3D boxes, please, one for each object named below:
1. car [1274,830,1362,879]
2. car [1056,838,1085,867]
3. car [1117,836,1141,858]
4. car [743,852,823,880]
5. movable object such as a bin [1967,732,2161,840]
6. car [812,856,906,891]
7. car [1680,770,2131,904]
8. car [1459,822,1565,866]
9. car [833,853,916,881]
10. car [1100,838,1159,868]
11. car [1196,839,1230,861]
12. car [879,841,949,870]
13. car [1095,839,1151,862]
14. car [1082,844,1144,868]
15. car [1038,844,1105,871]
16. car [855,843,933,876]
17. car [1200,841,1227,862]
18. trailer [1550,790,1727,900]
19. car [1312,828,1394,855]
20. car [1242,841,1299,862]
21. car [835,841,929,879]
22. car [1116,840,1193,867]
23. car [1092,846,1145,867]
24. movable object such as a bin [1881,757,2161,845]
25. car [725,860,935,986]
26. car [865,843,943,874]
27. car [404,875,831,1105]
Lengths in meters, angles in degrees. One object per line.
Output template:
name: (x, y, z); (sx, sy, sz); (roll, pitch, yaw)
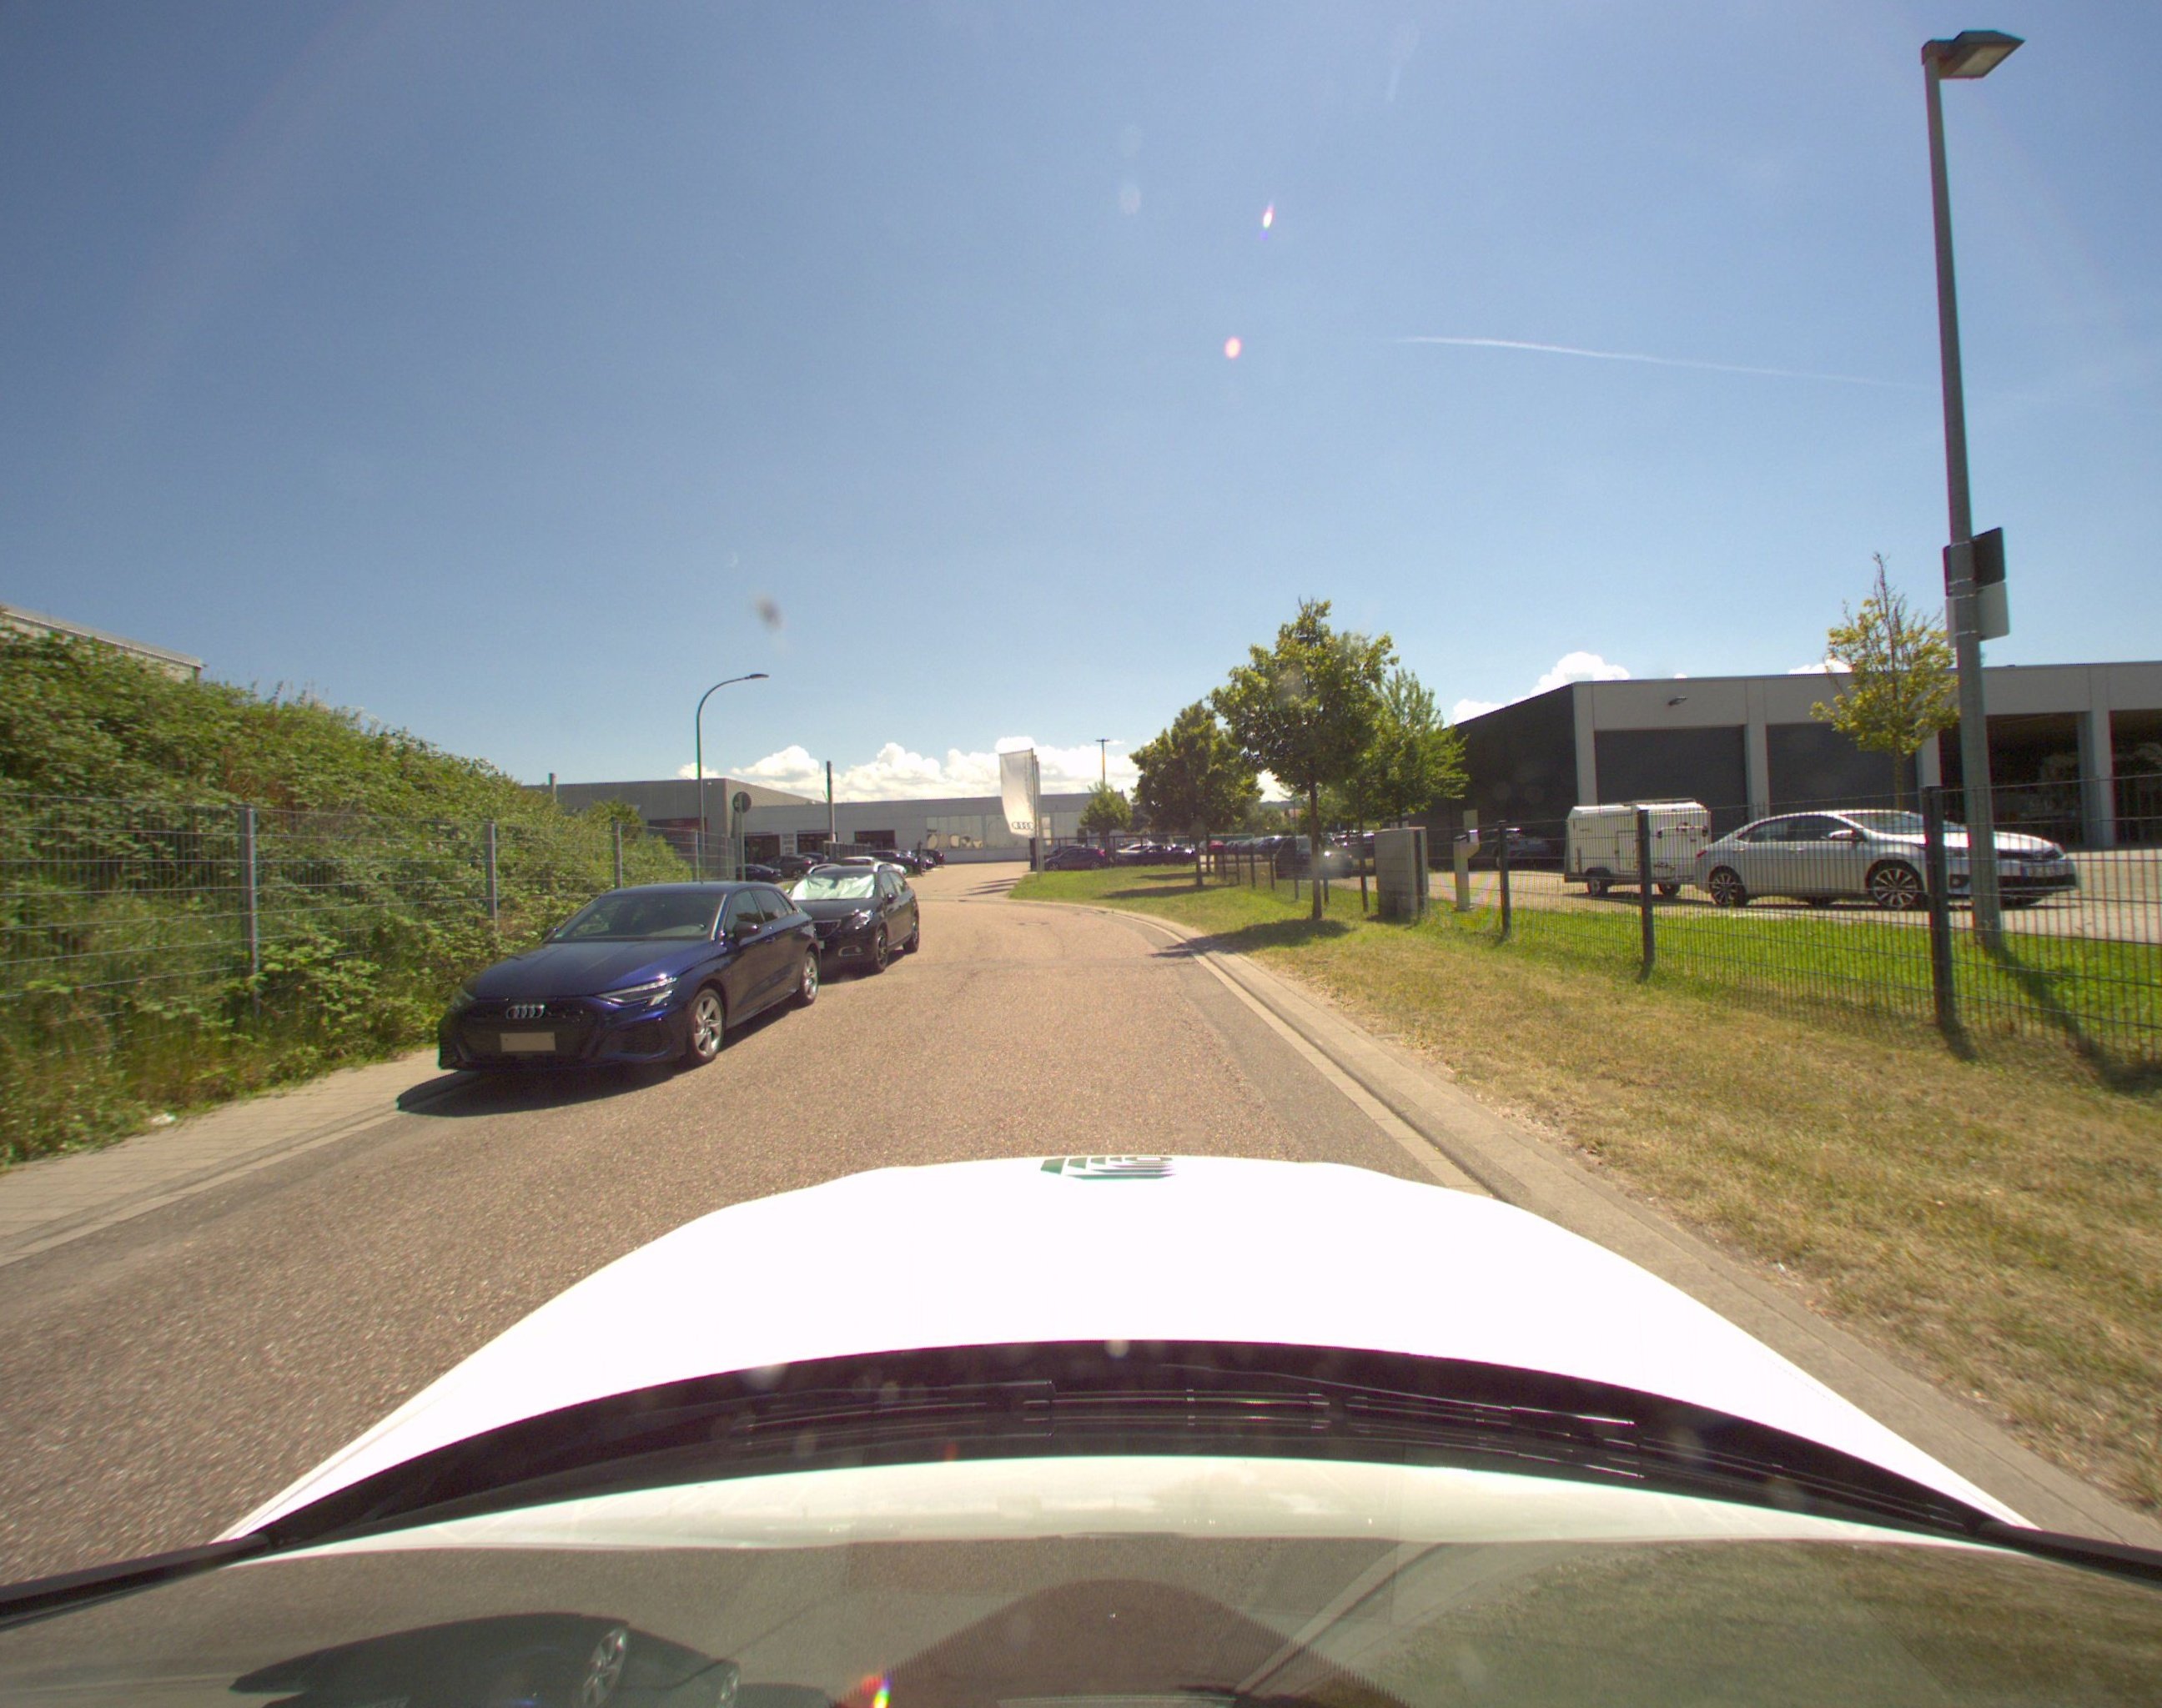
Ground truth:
car: (8.208, 0.012, 28.551); (1.732, 1.522, 3.892); (-3, 0, -3)
car: (-0.784, -0.076, 59.736); (1.988, 1.827, 3.996); (-3, -2, -2)
car: (4.602, -0.660, 78.515); (1.987, 1.827, 3.999); (-3, -2, 0)
car: (-19.401, 0.806, 53.215); (4.426, 1.626, 1.998); (-3, -2, -2)
movable object such as a bin: (43.095, -2.739, 33.561); (3.530, 3.974, 8.662); (-3, 0, -1)
car: (-11.865, 1.056, 43.772); (4.426, 1.626, 1.998); (-3, -2, -2)
car: (11.484, -0.091, 11.946); (1.876, 1.523, 4.463); (-3, -3, -3)
car: (15.279, -0.349, 29.090); (1.731, 1.407, 3.694); (-3, 0, -2)
car: (-12.312, 0.799, 48.783); (4.426, 1.398, 1.998); (-3, -2, -2)
car: (3.408, -0.063, 57.803); (3.976, 1.827, 1.998); (-3, -2, -2)
car: (9.883, -0.279, 61.229); (1.986, 1.398, 4.000); (-3, -2, 1)
car: (-12.773, 0.102, 62.566); (4.869, 1.922, 1.999); (-3, 0, -1)
car: (3.088, -0.248, 60.518); (3.976, 1.398, 1.998); (-3, -2, -2)
car: (2.116, 0.152, 54.591); (3.976, 1.398, 1.998); (-3, -2, -2)
car: (-0.571, 0.236, 49.683); (3.976, 1.398, 1.998); (-3, -2, -2)
car: (-12.277, 0.359, 53.773); (4.573, 1.922, 1.999); (-3, 0, -1)
car: (13.287, -0.190, 81.814); (1.987, 1.827, 3.999); (-3, -2, 0)
trailer: (11.472, -0.227, 17.004); (1.487, 2.006, 3.266); (-3, 2, 2)
car: (16.987, -0.778, 50.990); (4.426, 1.398, 1.998); (-3, -2, -2)
car: (14.932, -0.177, 64.238); (3.976, 1.398, 1.998); (-3, -2, -2)
car: (-12.520, 0.359, 51.459); (5.302, 2.097, 1.999); (-3, 0, -1)
car: (4.430, -0.028, 49.743); (4.426, 1.398, 1.998); (-3, -2, -2)
car: (2.888, 0.193, 63.432); (3.976, 1.398, 1.998); (-3, -2, -2)
movable object such as a bin: (38.295, -2.000, 33.436); (3.530, 2.994, 7.315); (-3, 0, -1)
car: (-3.645, 0.915, 12.702); (1.827, 1.546, 4.264); (-3, -1, 1)
car: (-12.145, 0.302, 56.080); (4.869, 1.922, 1.999); (-3, 0, -1)
car: (-3.804, 0.976, 7.646); (1.651, 1.417, 4.143); (-3, -1, -1)
